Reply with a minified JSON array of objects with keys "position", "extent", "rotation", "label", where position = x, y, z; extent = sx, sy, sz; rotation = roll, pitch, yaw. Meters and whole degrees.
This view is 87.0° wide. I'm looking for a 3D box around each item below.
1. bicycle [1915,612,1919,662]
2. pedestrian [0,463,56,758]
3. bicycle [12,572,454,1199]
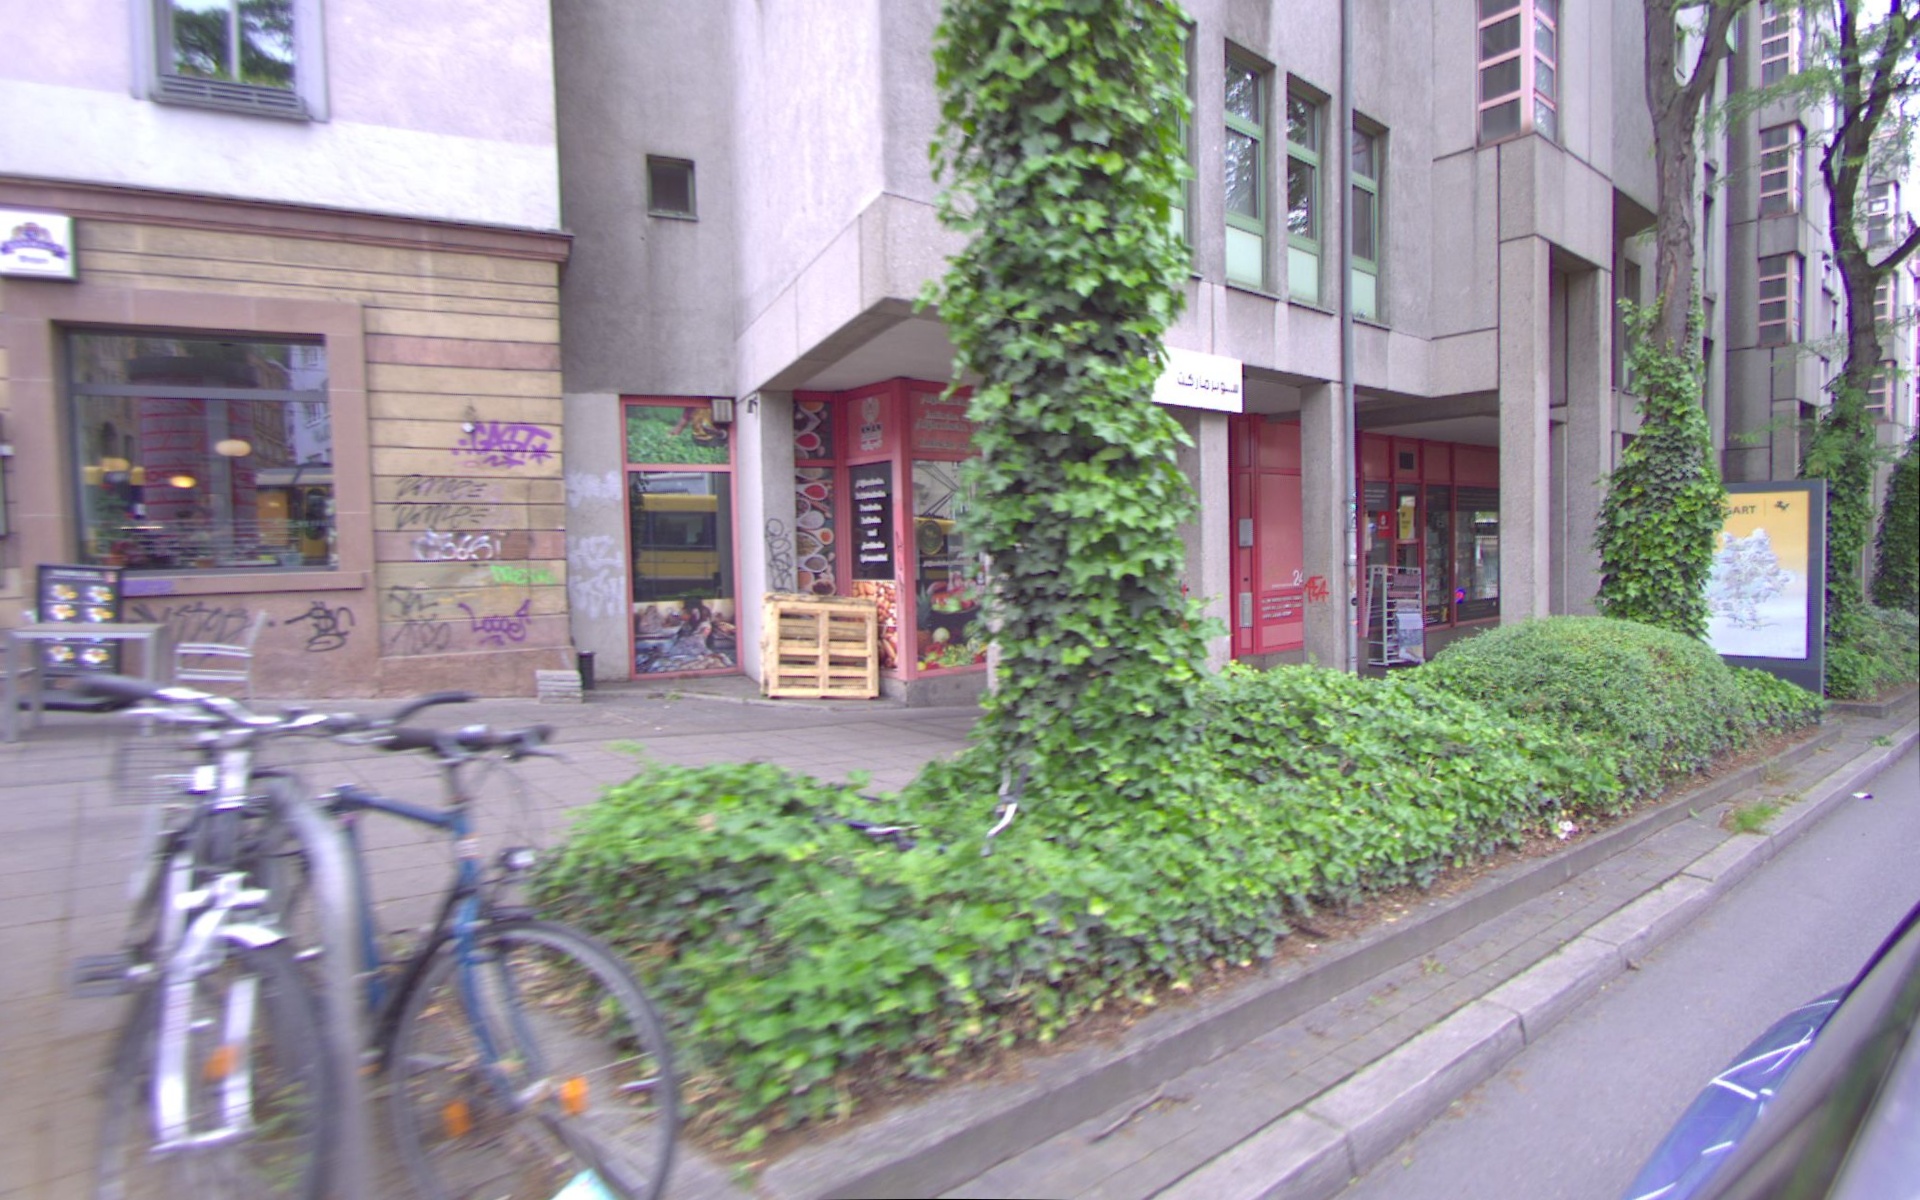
[{"position":[22.111,0.804,21.866],"extent":[2.085,1.099,0.702],"rotation":[-2,-1,43],"label":"bicycle"},{"position":[-6.413,0.065,6.361],"extent":[0.720,1.857,0.905],"rotation":[0,-1,-12],"label":"pedestrian"},{"position":[-1.684,0.566,2.219],"extent":[0.533,1.237,1.688],"rotation":[0,1,-44],"label":"bicycle"}]
